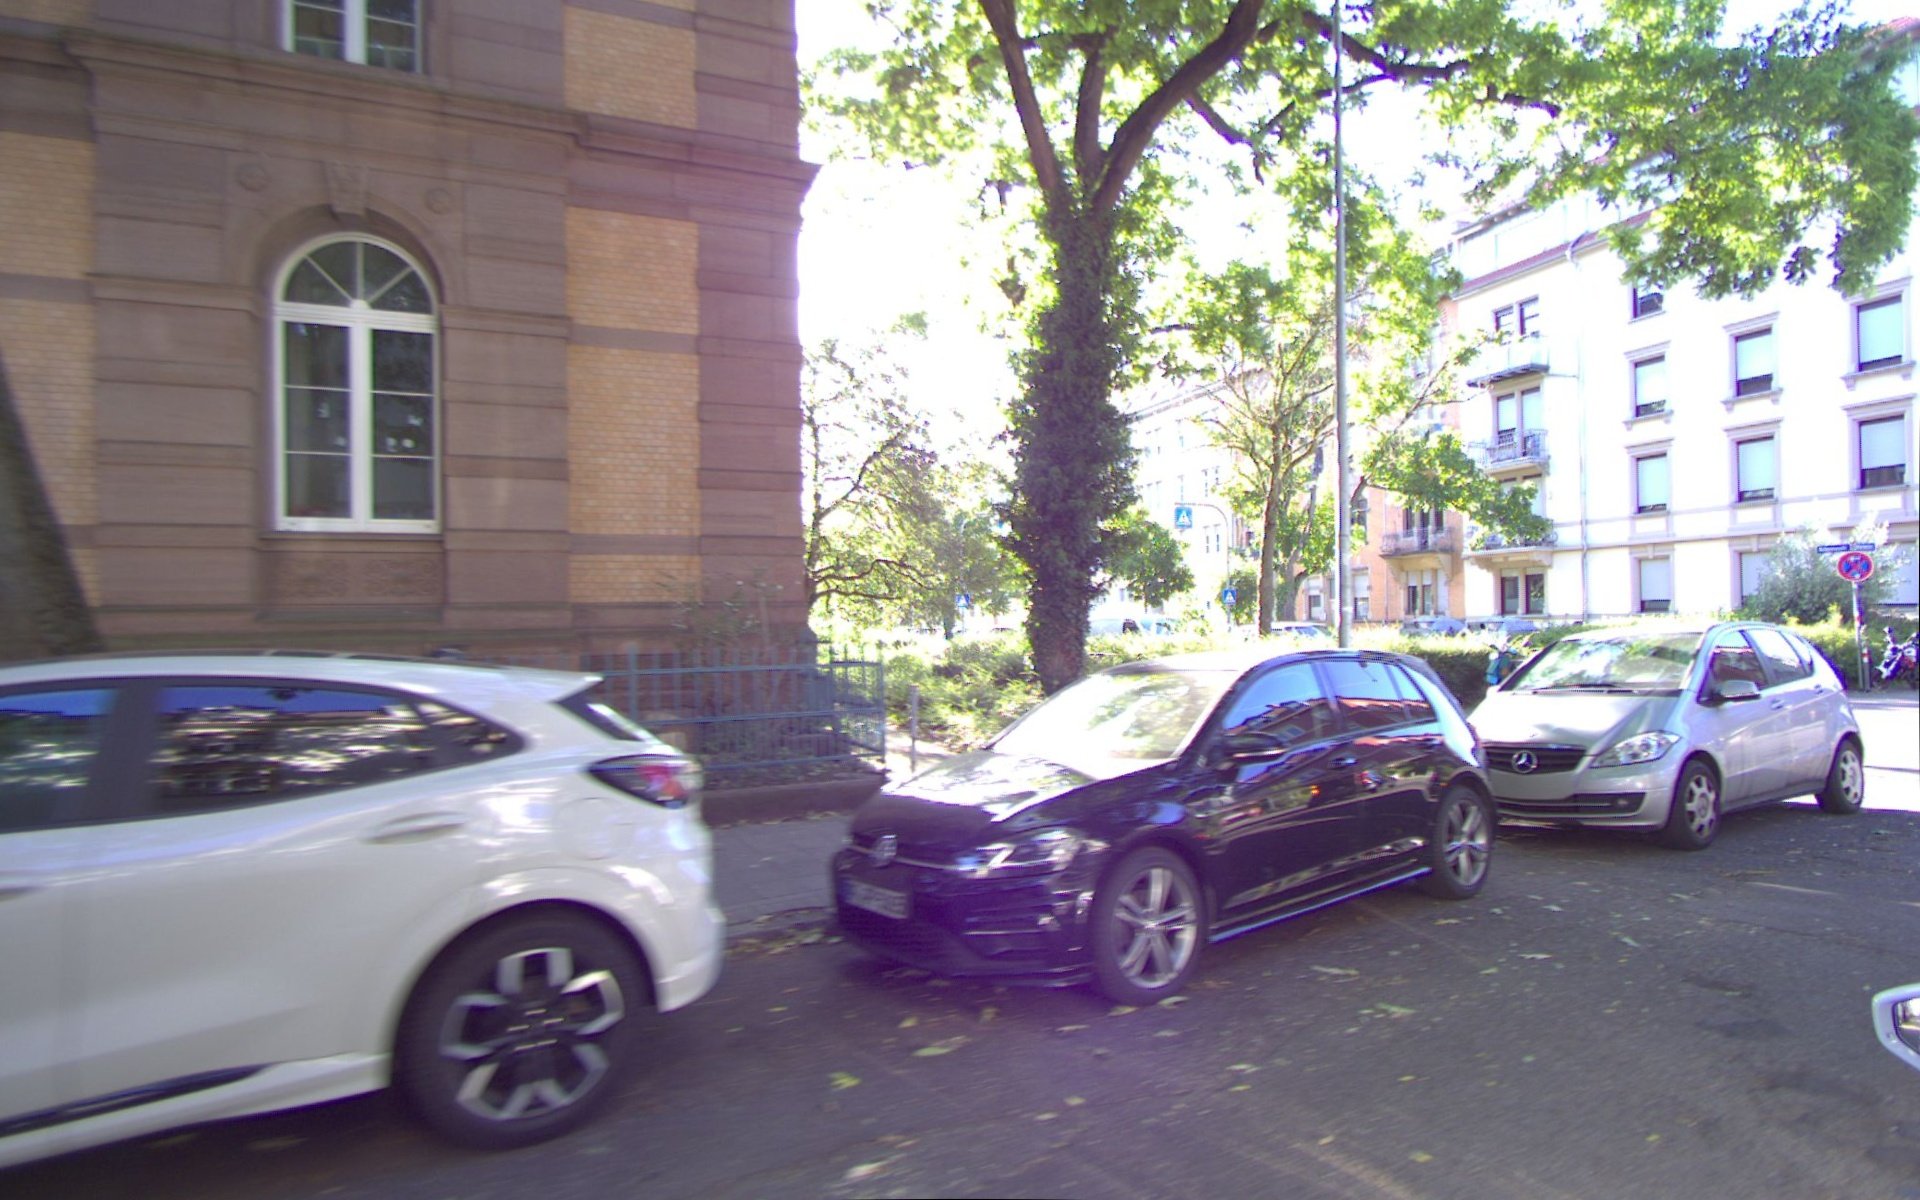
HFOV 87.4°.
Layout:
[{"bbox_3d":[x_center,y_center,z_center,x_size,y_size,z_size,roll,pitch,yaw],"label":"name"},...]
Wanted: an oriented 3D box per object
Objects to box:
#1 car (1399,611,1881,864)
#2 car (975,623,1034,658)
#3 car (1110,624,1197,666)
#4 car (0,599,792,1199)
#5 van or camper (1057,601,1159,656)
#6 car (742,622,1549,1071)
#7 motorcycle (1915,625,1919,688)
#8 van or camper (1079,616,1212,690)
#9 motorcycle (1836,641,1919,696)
[{"bbox_3d":[5.554,0.953,8.118,3.874,1.570,1.689,0,-5,-31],"label":"car"},{"bbox_3d":[2.350,2.199,54.492,1.627,1.762,3.979,-1,-2,-23],"label":"car"},{"bbox_3d":[7.869,1.822,41.260,1.683,1.617,3.981,0,-2,-21],"label":"car"},{"bbox_3d":[-2.801,0.870,3.151,4.089,1.573,1.816,0,-6,-33],"label":"car"},{"bbox_3d":[7.569,1.444,51.498,4.853,2.671,1.989,0,-1,-24],"label":"van or camper"},{"bbox_3d":[1.239,0.962,5.509,4.421,1.493,1.735,0,-6,-36],"label":"car"},{"bbox_3d":[21.093,1.189,21.298,1.585,1.311,0.518,-1,0,-17],"label":"motorcycle"},{"bbox_3d":[5.461,1.537,30.123,1.747,2.040,4.365,0,-2,-24],"label":"van or camper"},{"bbox_3d":[18.925,1.374,20.413,1.788,0.999,0.690,-1,3,-10],"label":"motorcycle"}]
